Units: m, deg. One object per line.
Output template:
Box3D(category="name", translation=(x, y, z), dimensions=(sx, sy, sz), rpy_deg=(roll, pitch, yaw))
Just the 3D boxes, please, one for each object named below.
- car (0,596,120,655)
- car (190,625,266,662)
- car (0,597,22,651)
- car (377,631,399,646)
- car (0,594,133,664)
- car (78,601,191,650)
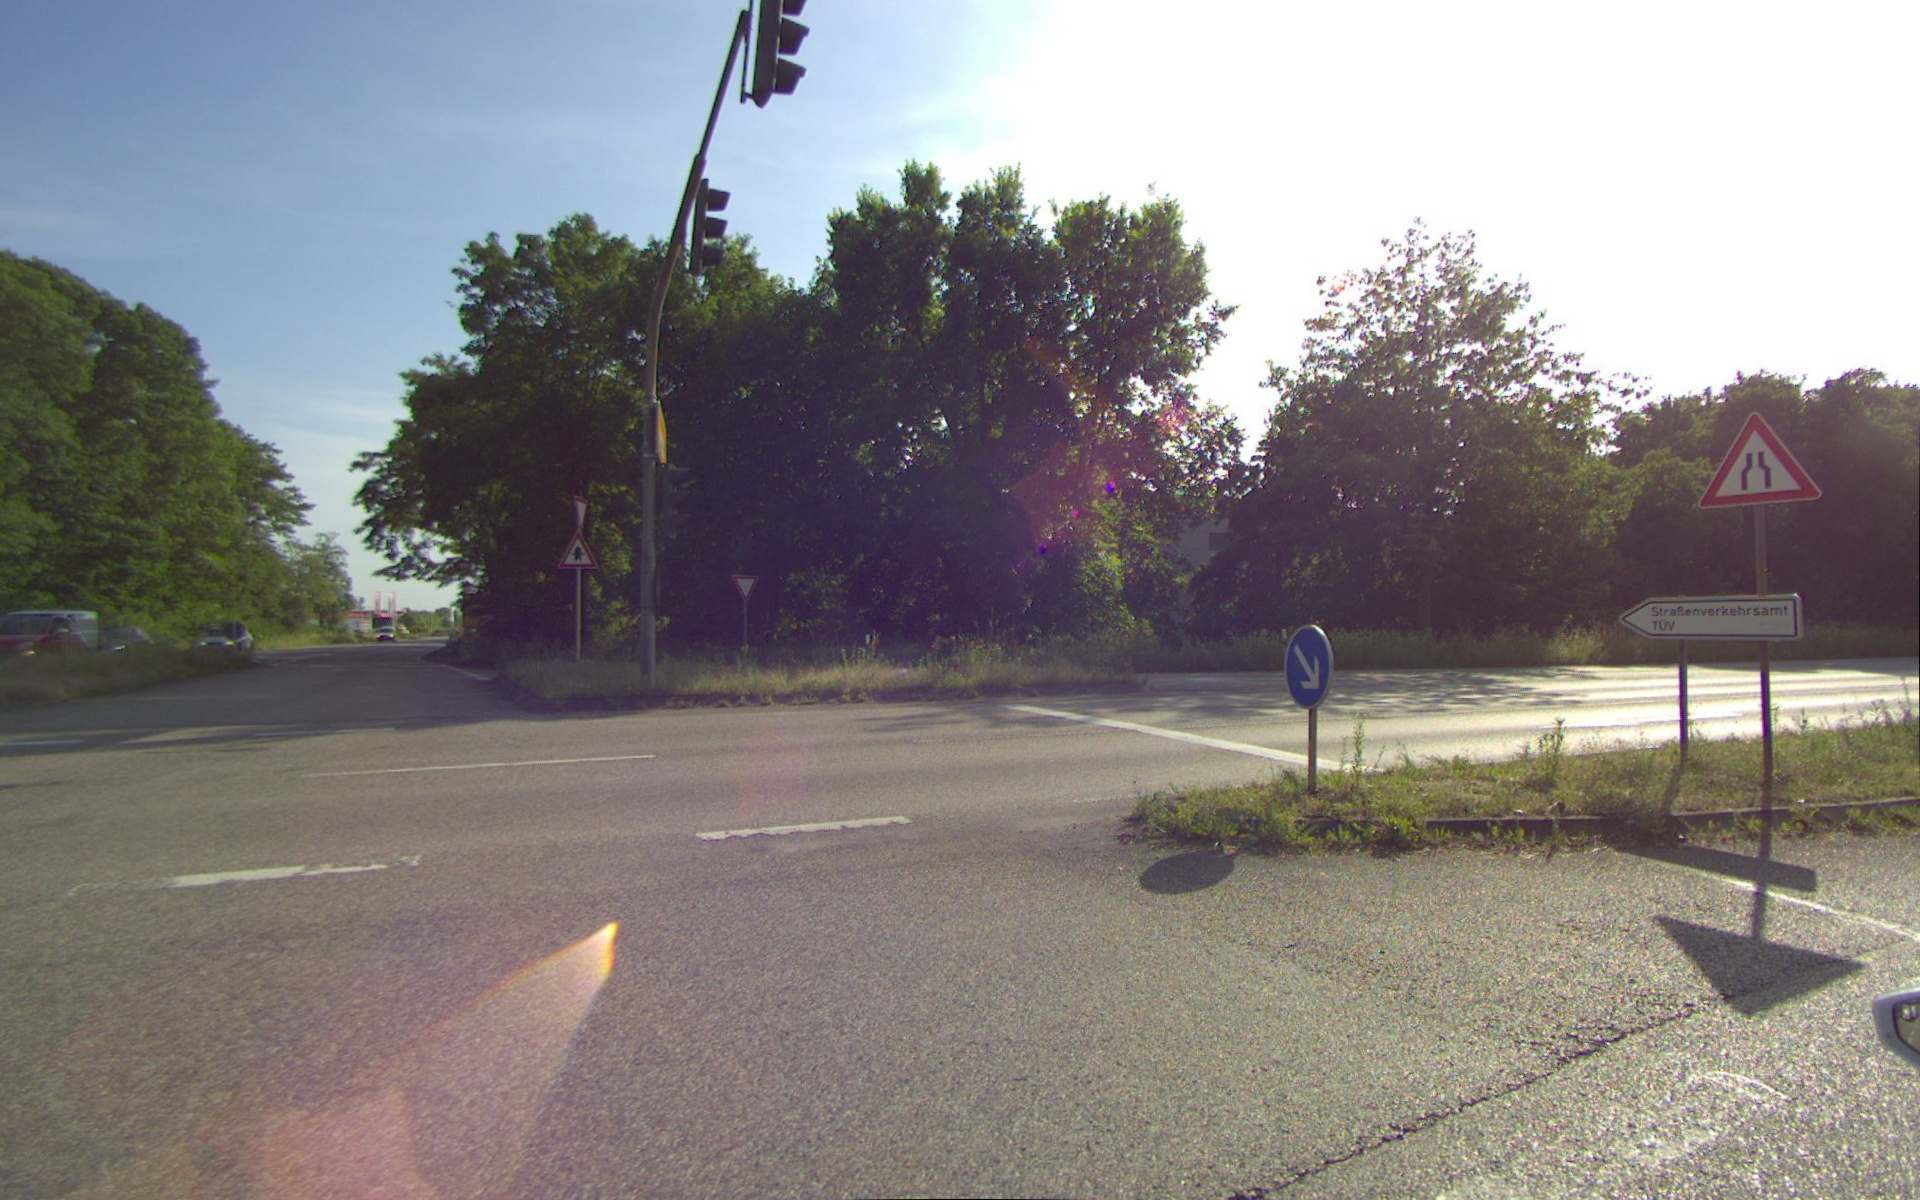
Box3D(category="car", translation=(-30.120, 0.787, 33.227), dimensions=(2.160, 1.750, 4.629), rpy_deg=(2, 0, -21))
Box3D(category="car", translation=(-39.225, 2.317, 53.947), dimensions=(2.103, 1.750, 4.629), rpy_deg=(2, 0, -21))
Box3D(category="car", translation=(-27.757, 0.666, 26.681), dimensions=(2.411, 1.510, 5.045), rpy_deg=(2, 0, -21))
Box3D(category="car", translation=(-67.195, 4.506, 118.047), dimensions=(1.666, 1.557, 3.807), rpy_deg=(2, 0, -21))
Box3D(category="car", translation=(-22.741, 0.652, 24.771), dimensions=(2.176, 1.510, 4.962), rpy_deg=(2, 0, -22))
Box3D(category="car", translation=(-32.776, 0.984, 40.052), dimensions=(2.103, 1.750, 4.629), rpy_deg=(2, 0, -21))
